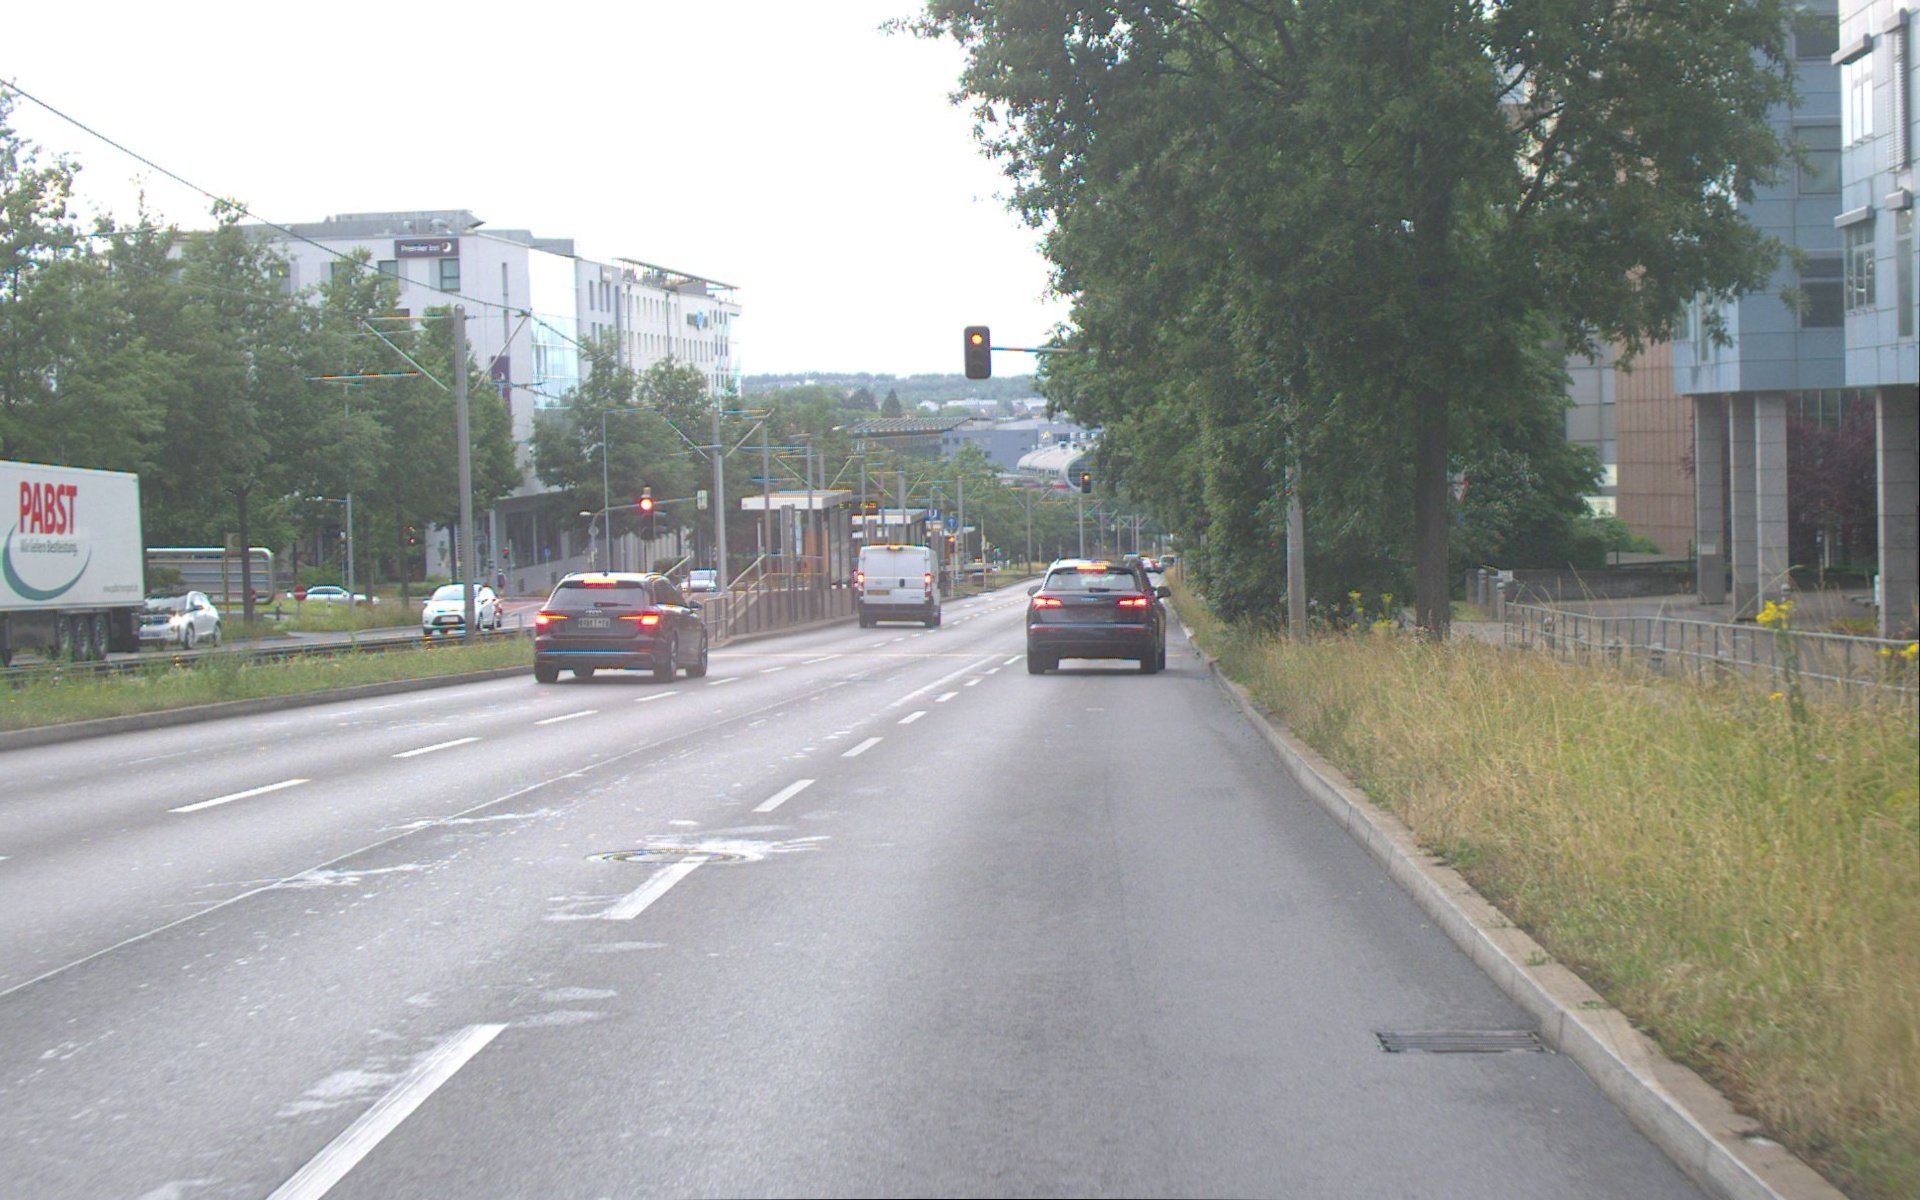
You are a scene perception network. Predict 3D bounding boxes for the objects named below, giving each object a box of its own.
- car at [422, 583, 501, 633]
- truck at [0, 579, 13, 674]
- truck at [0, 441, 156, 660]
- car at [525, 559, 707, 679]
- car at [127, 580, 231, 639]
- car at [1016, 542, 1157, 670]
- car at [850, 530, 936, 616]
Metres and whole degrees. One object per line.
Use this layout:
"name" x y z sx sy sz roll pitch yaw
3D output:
"car" -14.752 0.230 101.799 1.663 1.437 3.896 0 0 2
"truck" -17.028 0.484 55.249 1.942 1.562 4.543 -3 0 6
"truck" -19.642 -0.996 67.490 3.042 4.166 17.202 0 1 2
"car" -4.498 0.208 45.600 1.786 1.409 4.806 0 2 2
"car" -20.835 0.237 91.835 1.663 1.539 3.896 0 0 4
"car" 1.789 0.053 49.871 1.922 1.704 4.098 0 2 1
"car" -1.893 -0.787 95.512 2.267 2.277 4.760 0 2 -2
